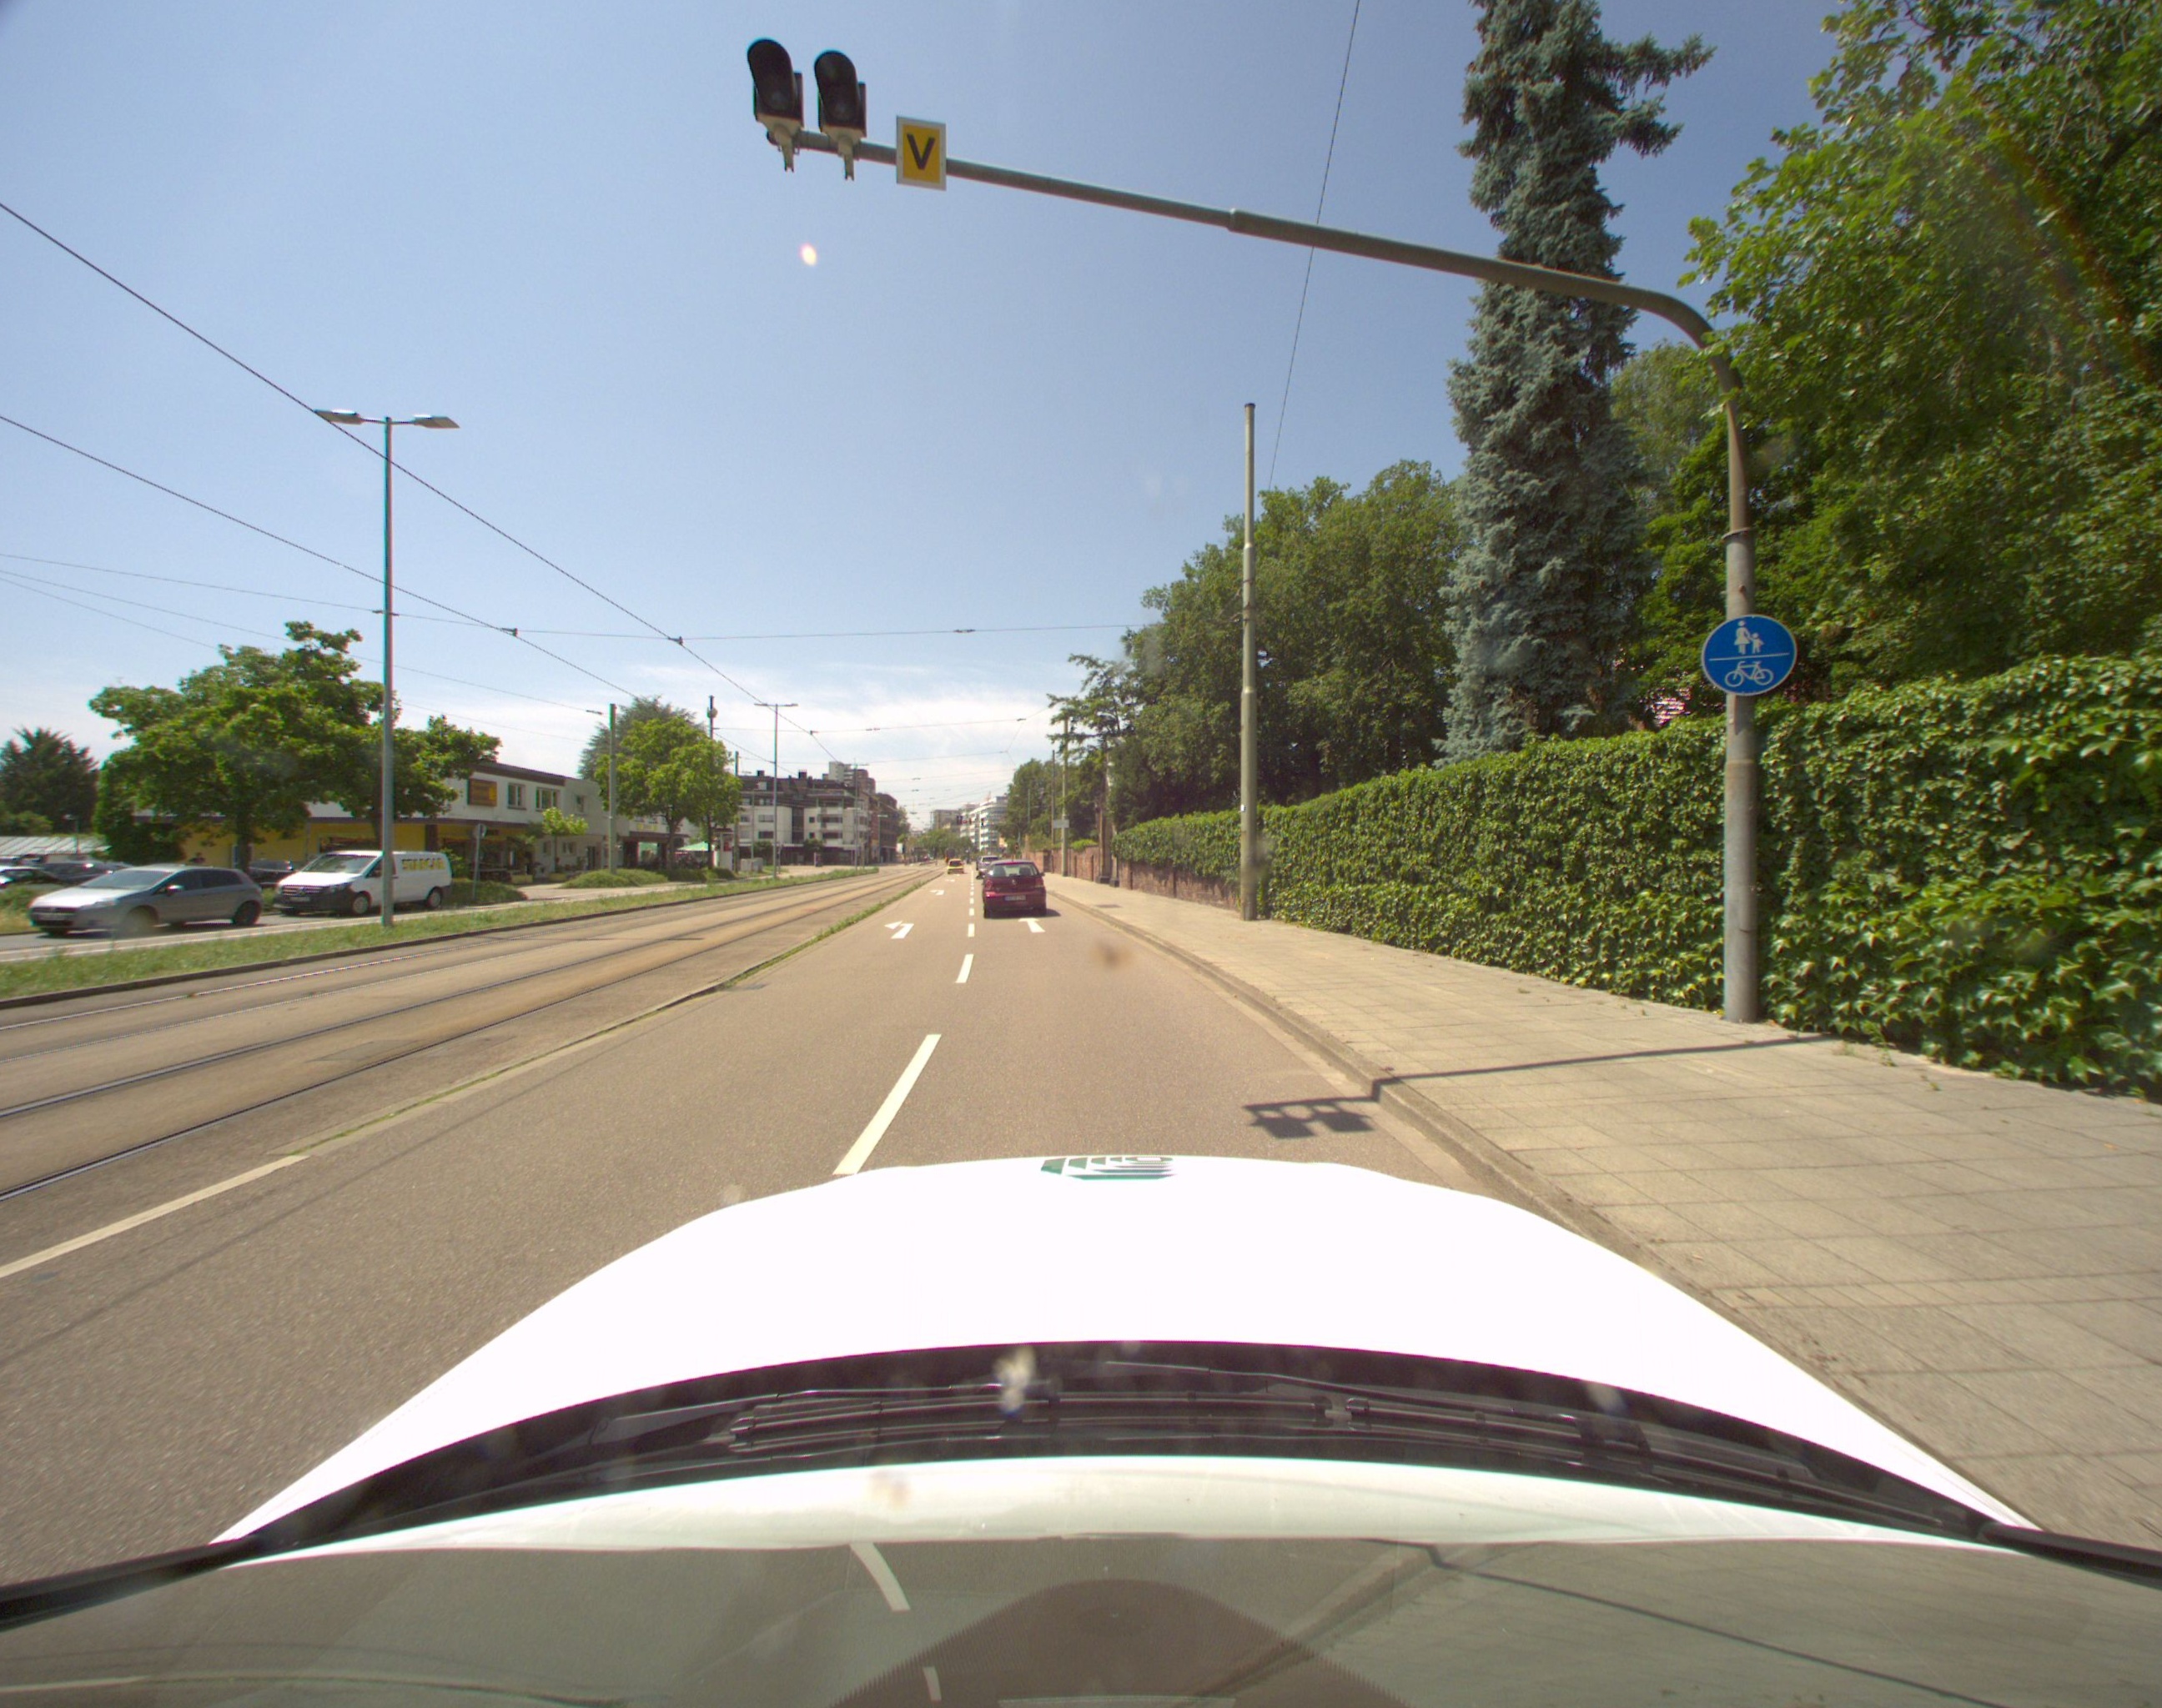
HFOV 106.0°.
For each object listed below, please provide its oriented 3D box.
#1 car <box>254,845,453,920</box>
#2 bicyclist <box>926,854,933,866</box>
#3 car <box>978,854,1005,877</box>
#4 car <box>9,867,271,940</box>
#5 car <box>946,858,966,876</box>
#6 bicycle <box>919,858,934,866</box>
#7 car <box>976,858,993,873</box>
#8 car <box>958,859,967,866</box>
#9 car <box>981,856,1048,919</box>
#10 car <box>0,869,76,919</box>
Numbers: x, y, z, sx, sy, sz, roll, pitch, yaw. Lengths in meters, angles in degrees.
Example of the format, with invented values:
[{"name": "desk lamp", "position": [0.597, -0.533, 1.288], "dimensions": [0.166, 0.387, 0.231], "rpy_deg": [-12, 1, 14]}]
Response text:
[{"name": "car", "position": [-22.108, 0.808, 25.127], "dimensions": [1.874, 1.965, 5.151], "rpy_deg": [3, -1, -7]}, {"name": "bicyclist", "position": [-26.698, 1.055, 143.641], "dimensions": [0.959, 2.091, 0.847], "rpy_deg": [0, 0, -20]}, {"name": "car", "position": [-6.759, 0.876, 61.789], "dimensions": [1.792, 1.683, 3.994], "rpy_deg": [1, 0, -4]}, {"name": "car", "position": [-21.251, 1.053, 18.667], "dimensions": [1.629, 1.420, 3.859], "rpy_deg": [2, -1, -5]}, {"name": "car", "position": [-12.456, 1.276, 81.238], "dimensions": [1.794, 1.683, 3.990], "rpy_deg": [1, 0, -7]}, {"name": "bicycle", "position": [-27.227, 1.378, 143.390], "dimensions": [2.519, 1.419, 0.633], "rpy_deg": [-1, 0, -21]}, {"name": "car", "position": [-10.907, 1.257, 91.987], "dimensions": [1.772, 1.631, 3.992], "rpy_deg": [1, 0, -6]}, {"name": "car", "position": [-21.394, 1.517, 147.050], "dimensions": [1.353, 1.252, 2.964], "rpy_deg": [1, 0, -7]}, {"name": "car", "position": [-1.868, 0.838, 22.012], "dimensions": [1.608, 1.498, 3.990], "rpy_deg": [-1, 0, -7]}, {"name": "car", "position": [-33.116, 1.199, 24.240], "dimensions": [3.862, 1.430, 1.641], "rpy_deg": [0, 0, -10]}]
